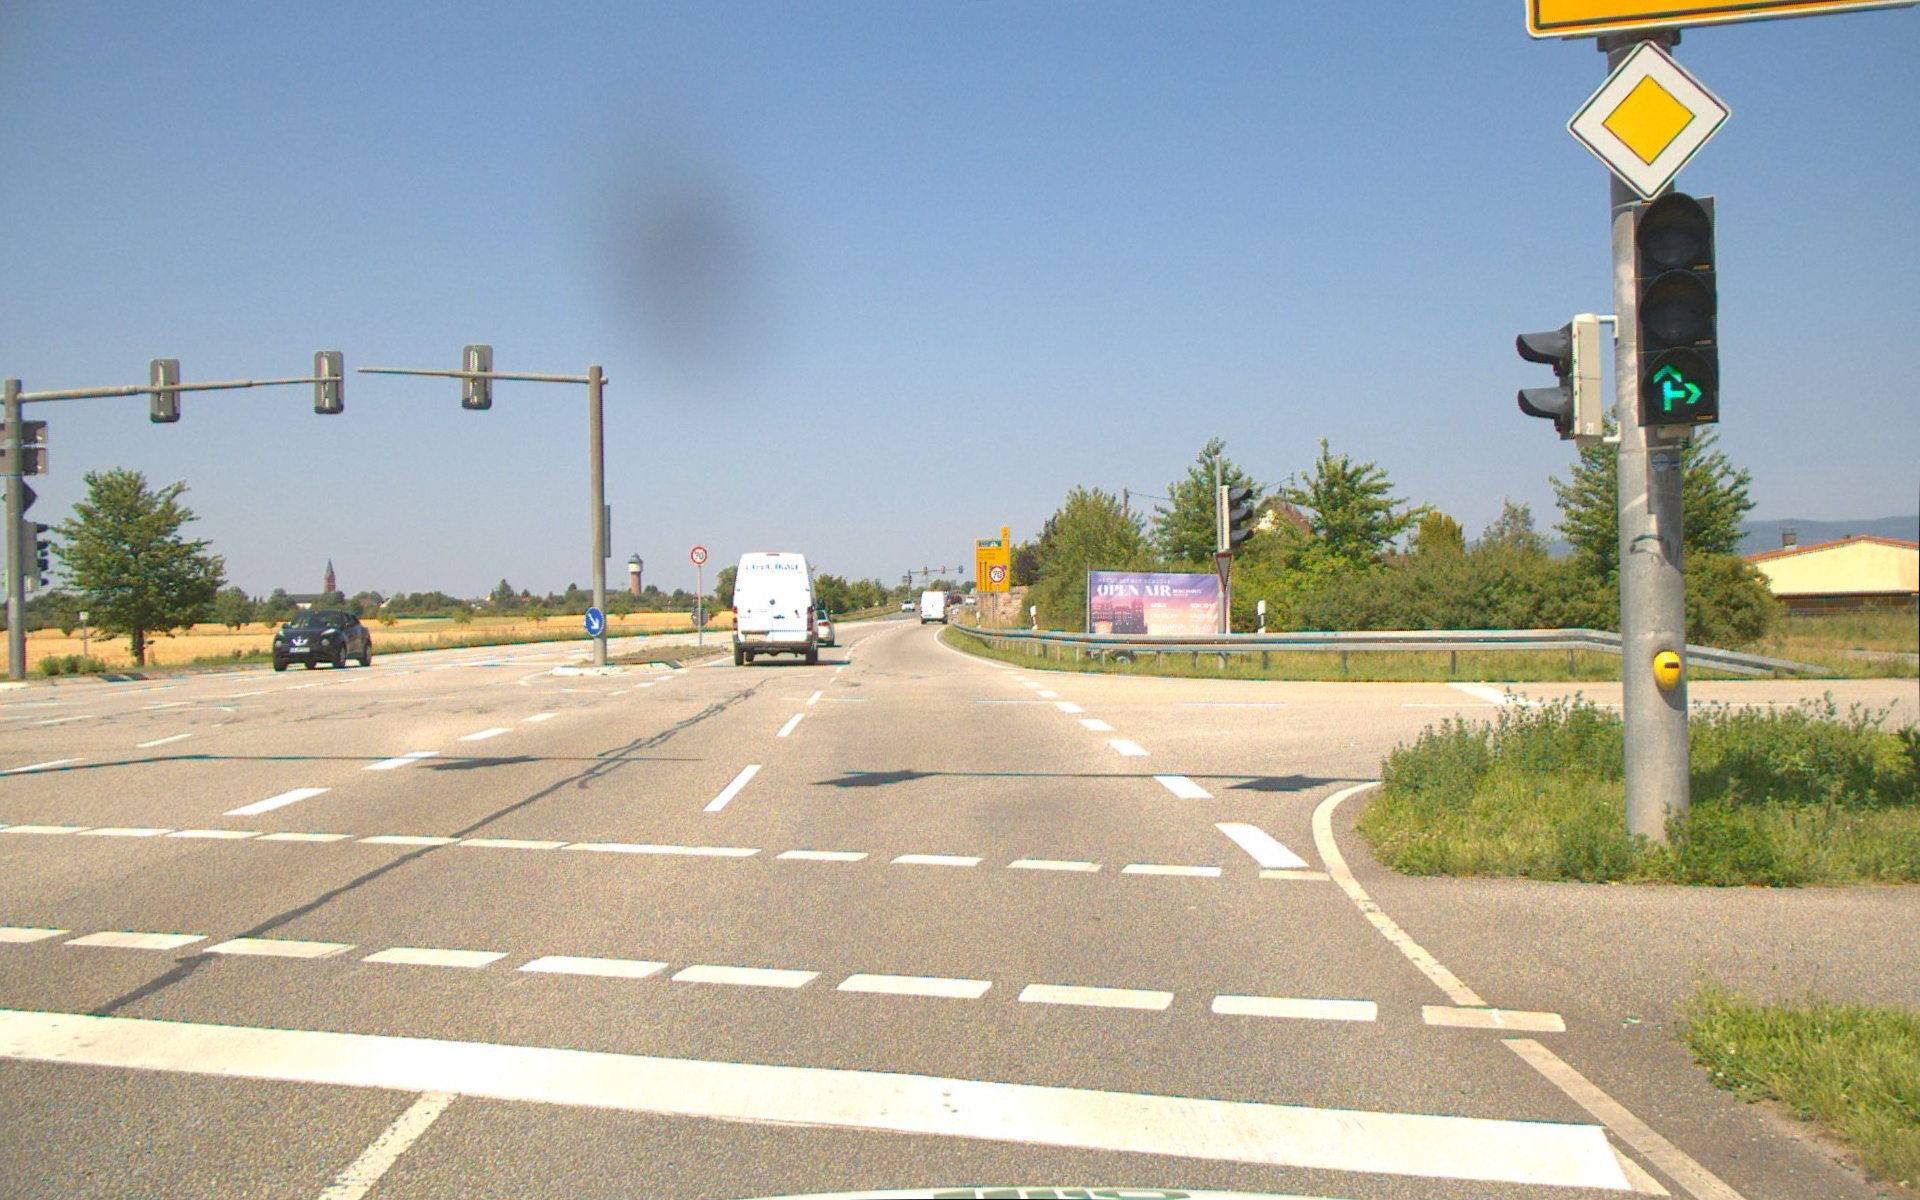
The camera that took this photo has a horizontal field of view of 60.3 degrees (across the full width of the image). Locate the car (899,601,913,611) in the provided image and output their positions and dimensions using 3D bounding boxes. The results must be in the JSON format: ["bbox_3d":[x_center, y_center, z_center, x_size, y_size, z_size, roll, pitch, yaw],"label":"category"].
[{"bbox_3d":[-8.108,0.870,248.060,1.712,1.467,4.083,-2,0,2],"label":"car"}]

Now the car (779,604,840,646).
[{"bbox_3d":[-5.769,0.934,63.797,1.762,1.534,4.197,-1,0,2],"label":"car"}]

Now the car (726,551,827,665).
[{"bbox_3d":[-4.525,0.215,41.680,1.998,2.666,5.739,0,-1,-1],"label":"car"}]

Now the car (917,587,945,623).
[{"bbox_3d":[-2.273,0.409,131.009,1.952,2.742,4.970,0,-1,2],"label":"car"}]

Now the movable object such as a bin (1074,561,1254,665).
[{"bbox_3d":[4.764,0.322,38.791,4.014,2.372,1.276,1,-1,-6],"label":"movable object such as a bin"}]

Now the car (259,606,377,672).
[{"bbox_3d":[-17.288,1.033,44.746,1.794,1.628,4.300,-2,-1,-5],"label":"car"}]
